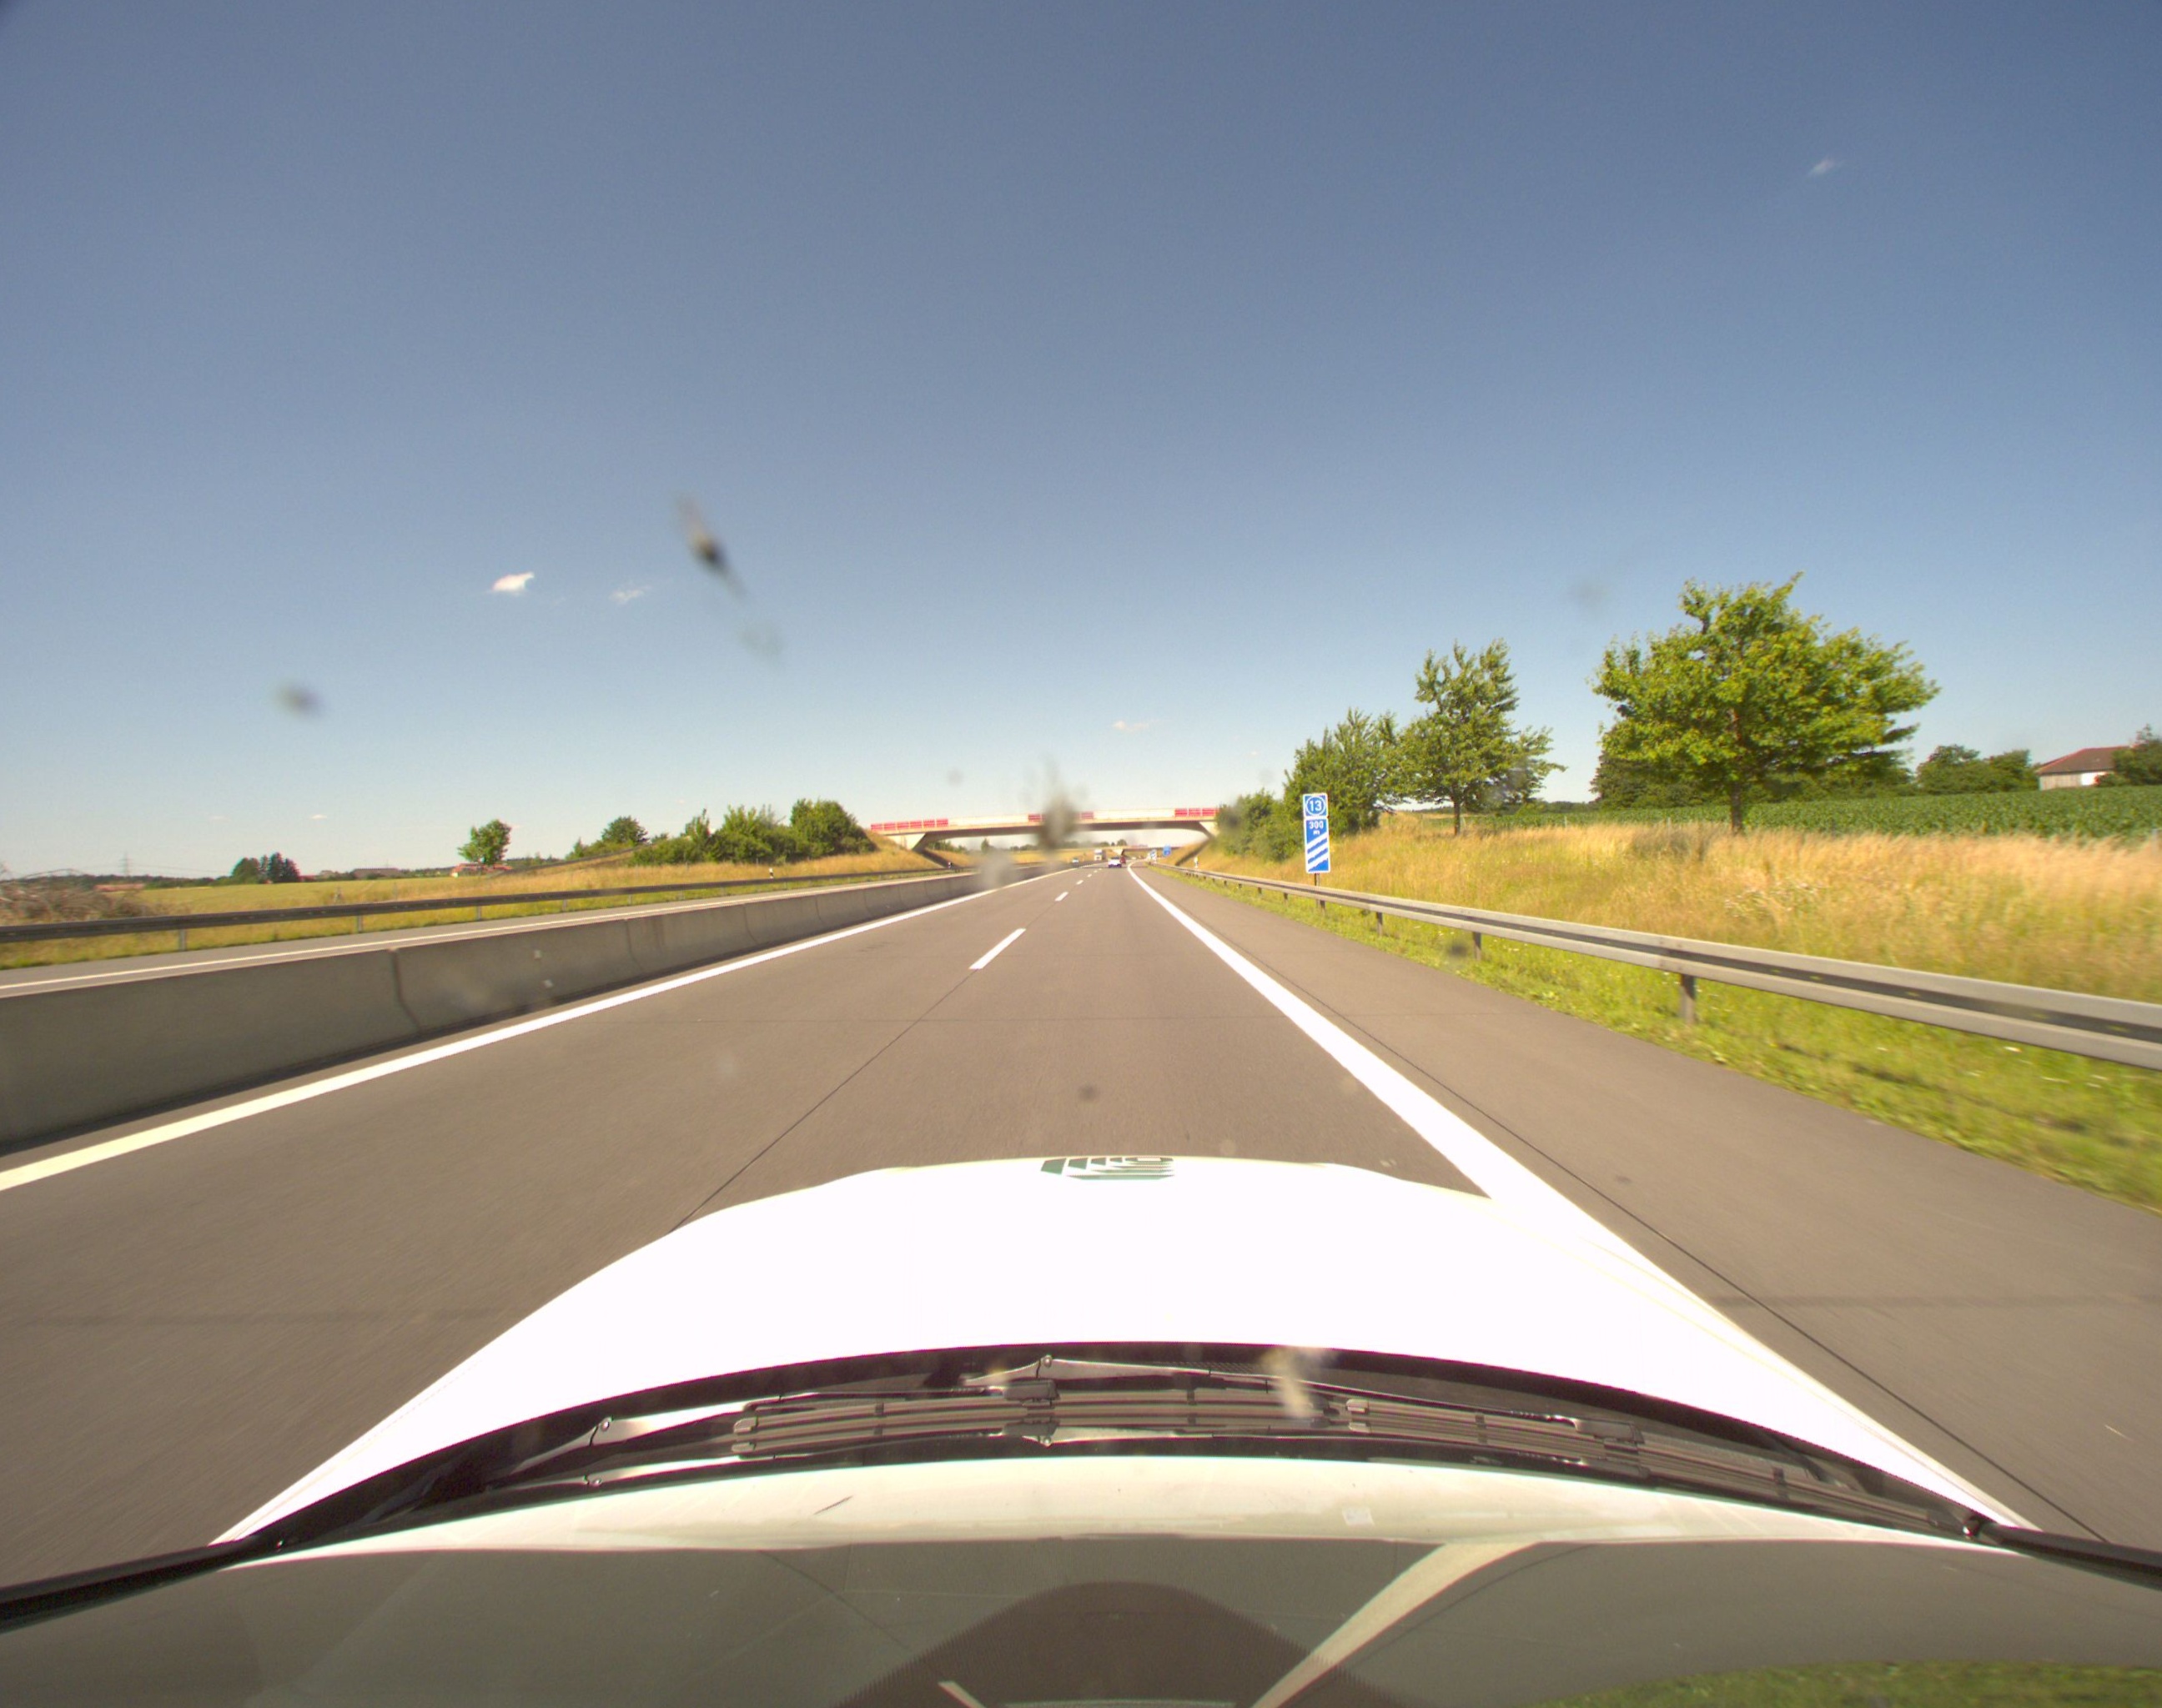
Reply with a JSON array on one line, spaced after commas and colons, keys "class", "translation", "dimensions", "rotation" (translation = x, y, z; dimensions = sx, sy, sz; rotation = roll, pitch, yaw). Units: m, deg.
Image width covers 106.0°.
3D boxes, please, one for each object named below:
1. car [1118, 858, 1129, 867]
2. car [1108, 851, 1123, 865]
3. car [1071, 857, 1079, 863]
[{"class": "car", "translation": [8.677, 1.737, 165.833], "dimensions": [1.984, 1.731, 4.875], "rotation": [-3, 0, 5]}, {"class": "car", "translation": [4.810, 0.554, 113.264], "dimensions": [1.985, 1.731, 4.873], "rotation": [-3, 0, 3]}, {"class": "car", "translation": [-1.643, 1.632, 217.566], "dimensions": [1.652, 1.453, 4.005], "rotation": [-2, 0, 5]}]
